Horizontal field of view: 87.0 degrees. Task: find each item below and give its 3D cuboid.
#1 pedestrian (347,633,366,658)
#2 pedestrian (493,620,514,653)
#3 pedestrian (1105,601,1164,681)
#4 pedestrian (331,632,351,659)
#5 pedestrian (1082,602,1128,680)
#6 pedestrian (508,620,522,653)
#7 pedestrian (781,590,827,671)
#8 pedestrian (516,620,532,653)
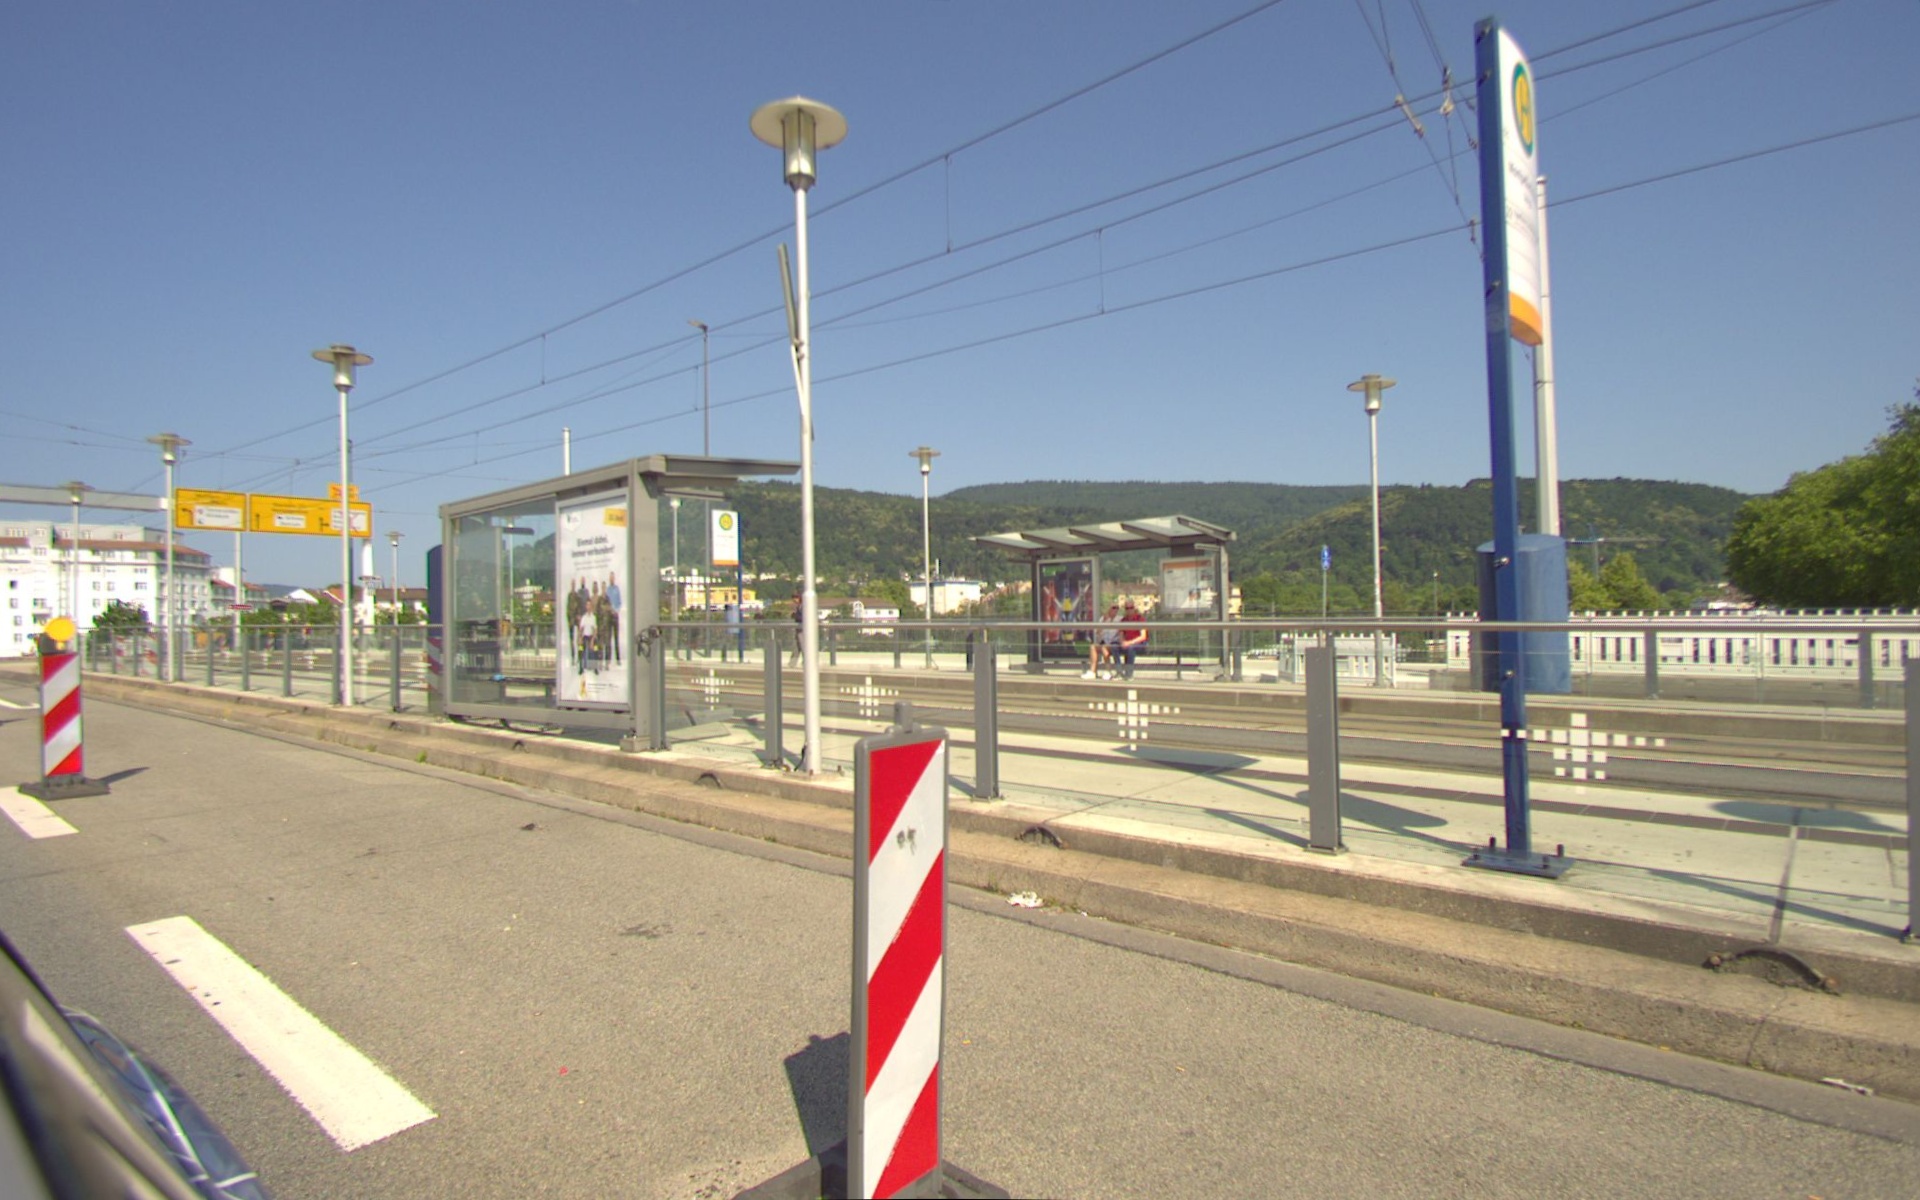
[{"bbox_3d":[-39.367,2.944,65.991,0.887,1.556,0.713,-3,0,37],"label":"pedestrian"},{"bbox_3d":[-23.558,1.883,52.256,0.731,1.700,0.745,-3,-3,40],"label":"pedestrian"},{"bbox_3d":[2.872,0.664,16.667,0.697,1.283,0.641,-2,-2,43],"label":"pedestrian"},{"bbox_3d":[-39.935,2.921,65.304,0.893,1.654,0.737,-3,0,37],"label":"pedestrian"},{"bbox_3d":[2.448,0.689,17.070,0.453,1.283,0.641,-2,-2,43],"label":"pedestrian"},{"bbox_3d":[-23.386,1.921,53.165,0.769,1.700,0.379,-3,-3,40],"label":"pedestrian"},{"bbox_3d":[-3.260,0.636,21.130,0.652,1.667,0.740,0,-2,-39],"label":"pedestrian"},{"bbox_3d":[-22.706,1.879,52.706,0.772,1.700,0.498,-3,-3,40],"label":"pedestrian"}]
